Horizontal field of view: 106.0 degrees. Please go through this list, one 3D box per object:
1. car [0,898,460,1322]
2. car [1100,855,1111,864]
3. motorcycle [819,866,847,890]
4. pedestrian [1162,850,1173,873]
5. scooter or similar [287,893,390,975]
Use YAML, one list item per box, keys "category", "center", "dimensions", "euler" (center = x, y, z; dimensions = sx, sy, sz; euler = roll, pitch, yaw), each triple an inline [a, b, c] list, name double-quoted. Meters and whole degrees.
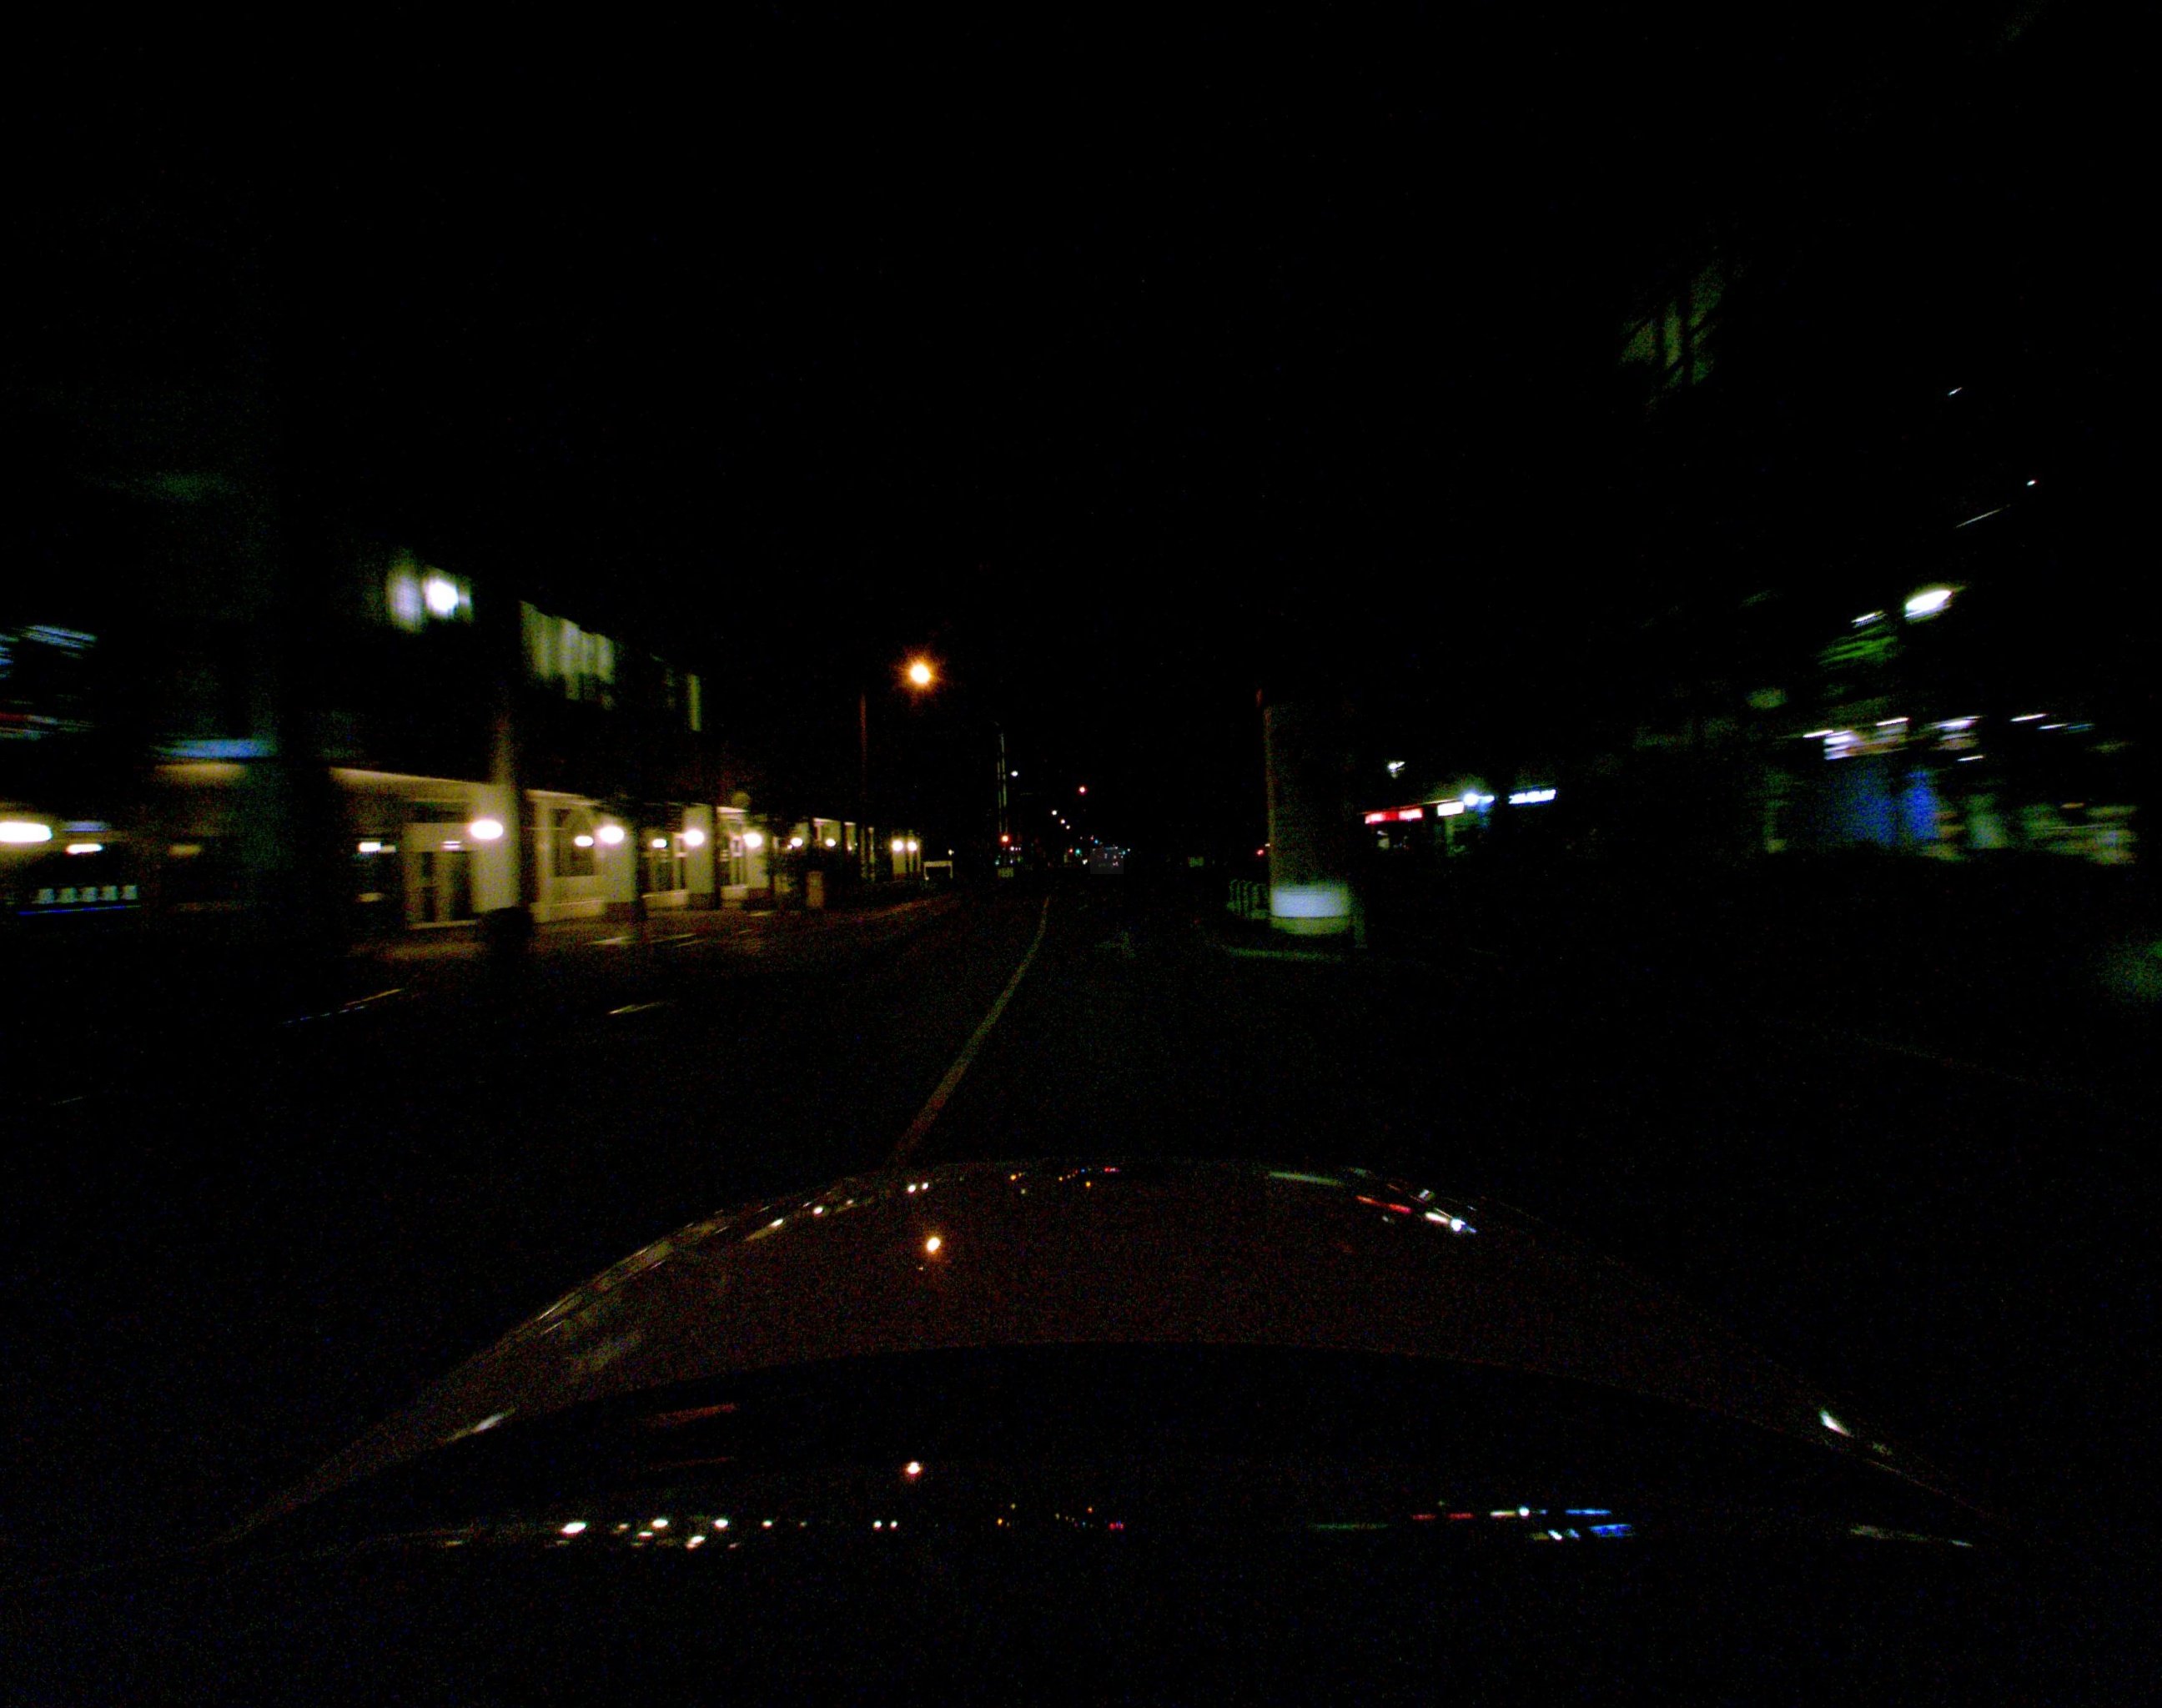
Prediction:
- category: "car"
  center: [-4.779, 1.001, 2.784]
  dimensions: [1.735, 1.413, 4.497]
  euler: [-1, 0, 2]
- category: "car"
  center: [4.473, 0.997, 149.819]
  dimensions: [1.987, 1.643, 4.000]
  euler: [-3, 0, 1]
- category: "motorcycle"
  center: [-11.706, 1.125, 38.462]
  dimensions: [0.475, 1.020, 1.680]
  euler: [-2, 0, 11]
- category: "pedestrian"
  center: [7.023, 0.633, 65.923]
  dimensions: [0.700, 1.818, 1.082]
  euler: [-3, 0, 1]
- category: "scooter or similar"
  center: [-12.461, 1.312, 13.710]
  dimensions: [0.386, 1.221, 1.345]
  euler: [-2, 0, 4]
